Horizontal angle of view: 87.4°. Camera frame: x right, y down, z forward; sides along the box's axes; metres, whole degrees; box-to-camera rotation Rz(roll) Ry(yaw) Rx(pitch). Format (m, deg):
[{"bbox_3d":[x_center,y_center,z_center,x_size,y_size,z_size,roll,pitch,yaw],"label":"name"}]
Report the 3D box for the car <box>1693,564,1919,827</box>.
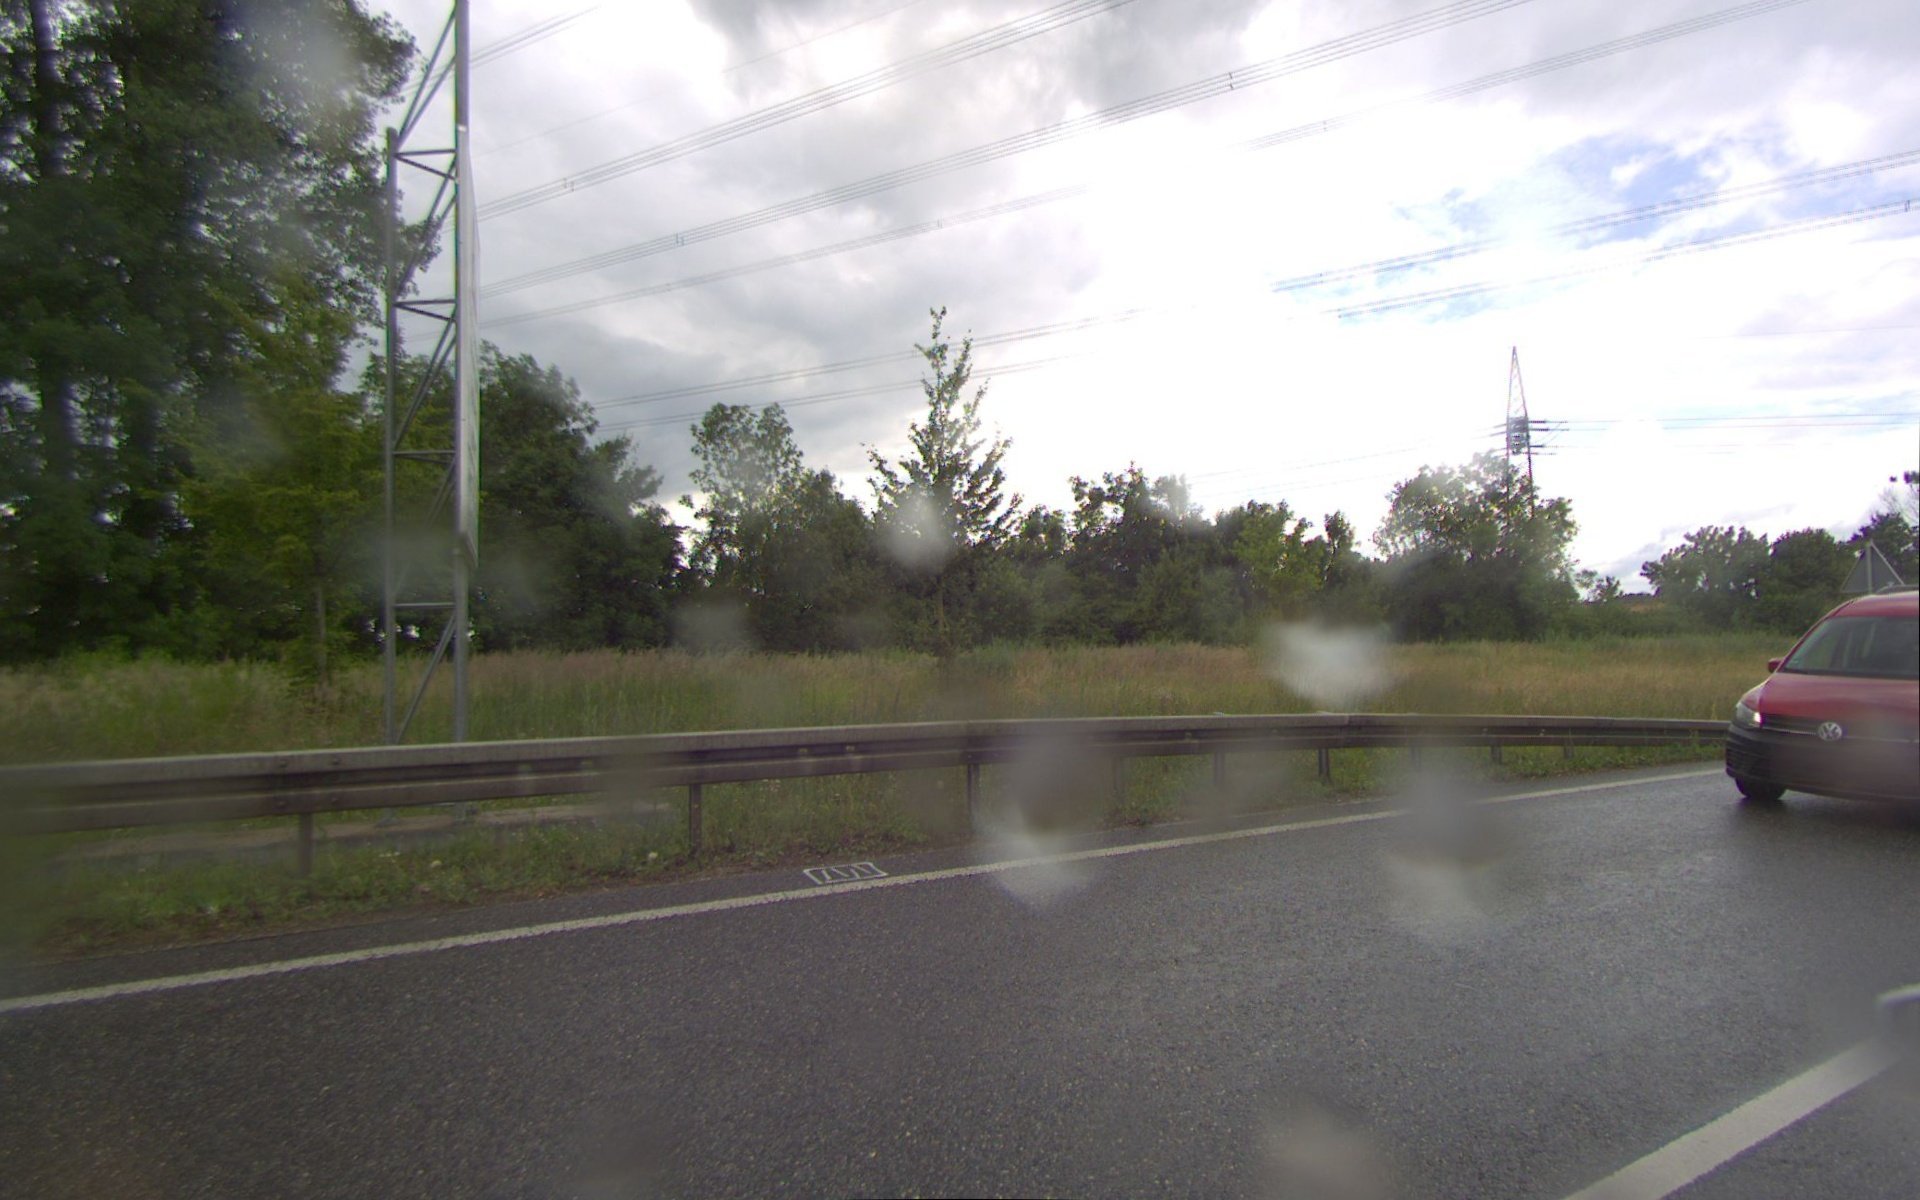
[{"bbox_3d":[8.517,0.727,8.728,4.465,1.875,1.793,1,-1,-29],"label":"car"}]
